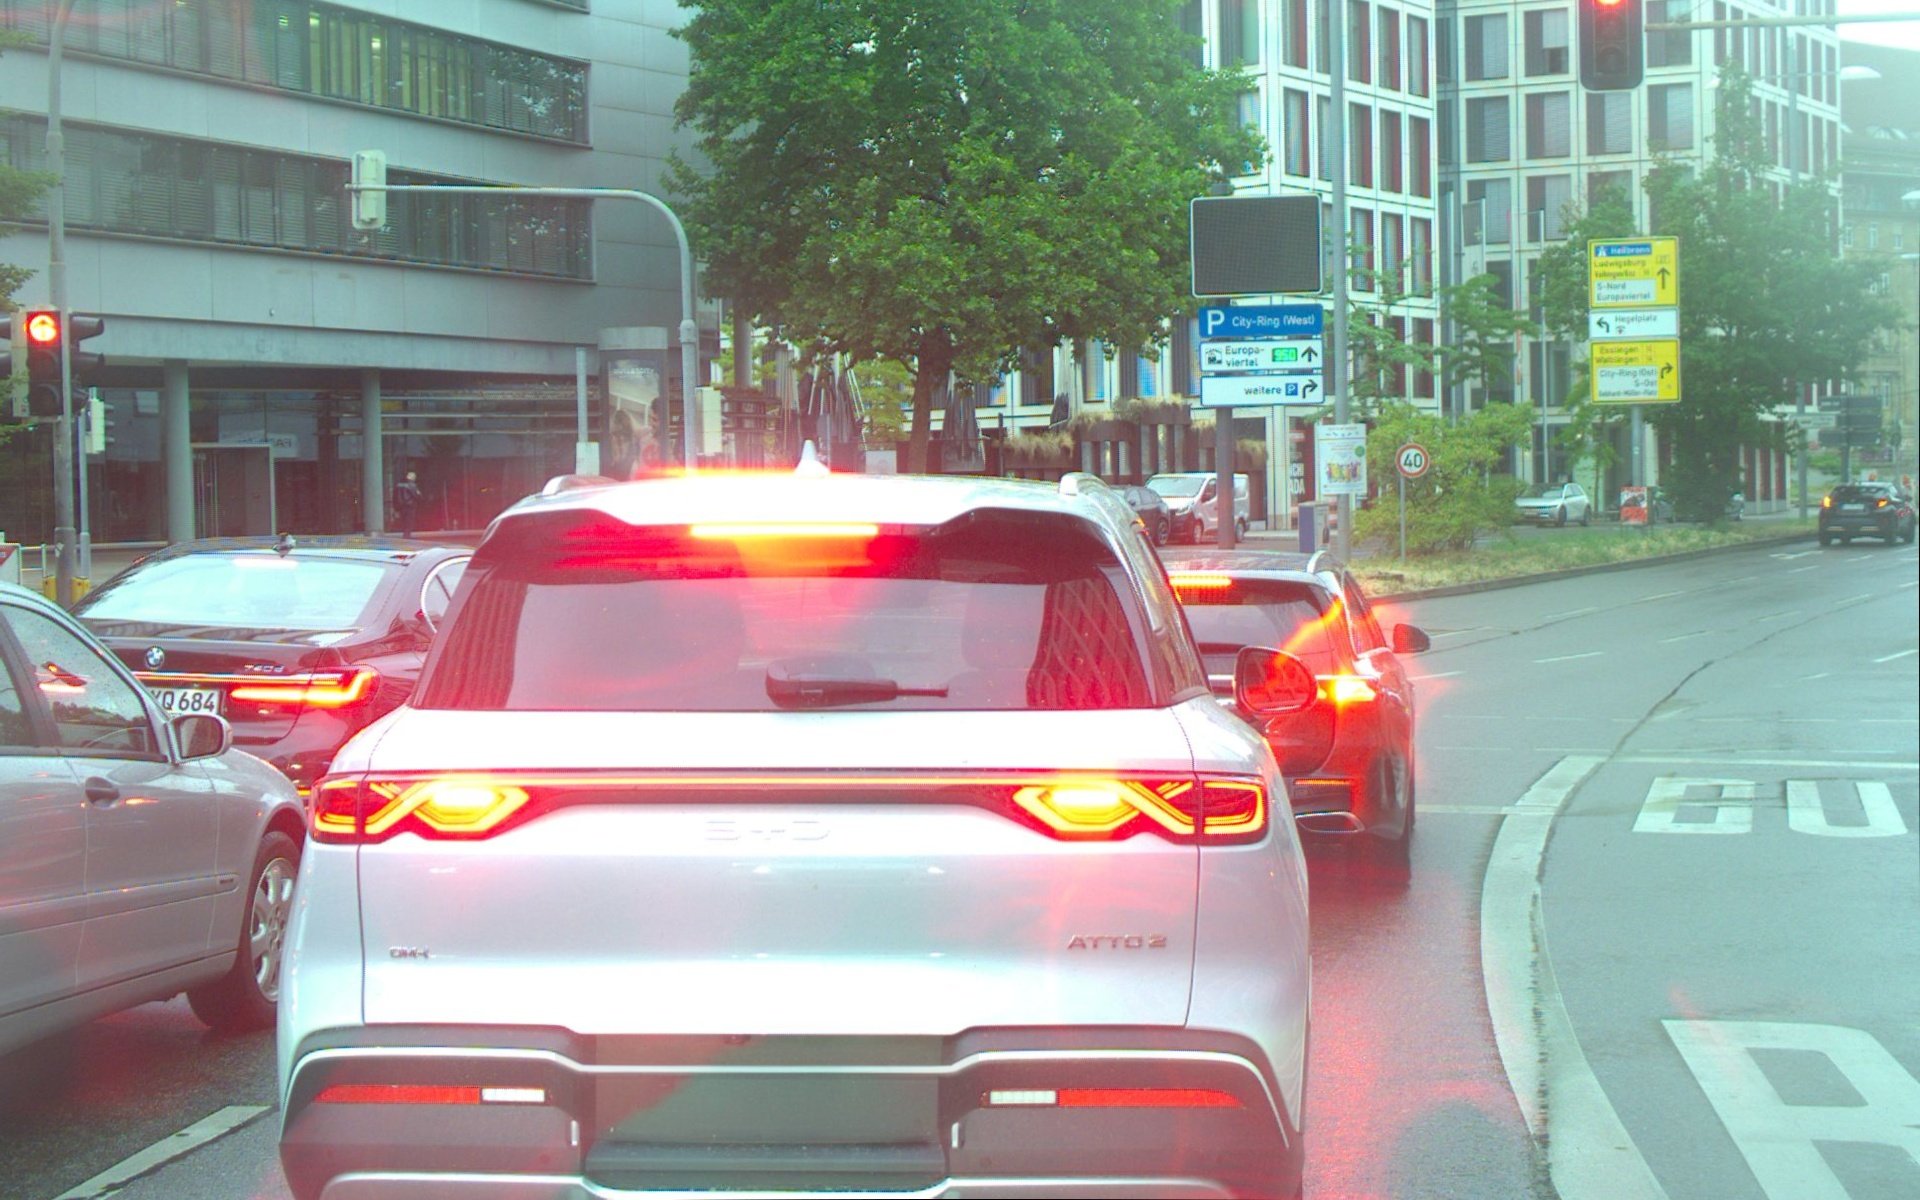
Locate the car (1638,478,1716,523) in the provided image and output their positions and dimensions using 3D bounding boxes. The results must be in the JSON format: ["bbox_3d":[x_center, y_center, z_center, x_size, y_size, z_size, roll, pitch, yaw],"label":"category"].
[{"bbox_3d":[28.857,-3.999,138.274,1.996,1.700,4.303,1,3,27],"label":"car"}]

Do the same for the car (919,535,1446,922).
[{"bbox_3d":[1.162,0.475,15.876,1.956,1.525,3.998,0,1,11],"label":"car"}]

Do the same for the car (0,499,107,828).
[{"bbox_3d":[-5.735,0.319,16.009,1.886,1.590,3.998,0,1,12],"label":"car"}]

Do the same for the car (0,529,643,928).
[{"bbox_3d":[-2.911,0.450,15.376,1.956,1.525,3.998,0,1,11],"label":"car"}]

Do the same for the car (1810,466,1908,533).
[{"bbox_3d":[21.835,-2.437,83.419,1.995,1.546,3.997,2,2,18],"label":"car"}]

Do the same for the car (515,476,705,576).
[{"bbox_3d":[-6.386,-1.392,63.181,1.995,1.700,3.997,1,3,19],"label":"car"}]

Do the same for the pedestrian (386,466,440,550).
[{"bbox_3d":[-11.319,-1.893,71.191,0.728,1.721,0.924,0,1,21],"label":"pedestrian"}]

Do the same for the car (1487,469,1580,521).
[{"bbox_3d":[19.968,-3.657,119.504,1.996,1.700,4.303,1,3,27],"label":"car"}]

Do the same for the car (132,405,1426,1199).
[{"bbox_3d":[-0.208,0.500,7.582,1.993,1.703,4.483,-1,2,2],"label":"car"}]

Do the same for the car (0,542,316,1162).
[{"bbox_3d":[-3.114,0.612,8.925,1.682,1.481,4.196,0,1,6],"label":"car"}]

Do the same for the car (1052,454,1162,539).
[{"bbox_3d":[3.904,-2.693,90.401,1.739,2.154,4.490,1,1,18],"label":"car"}]
